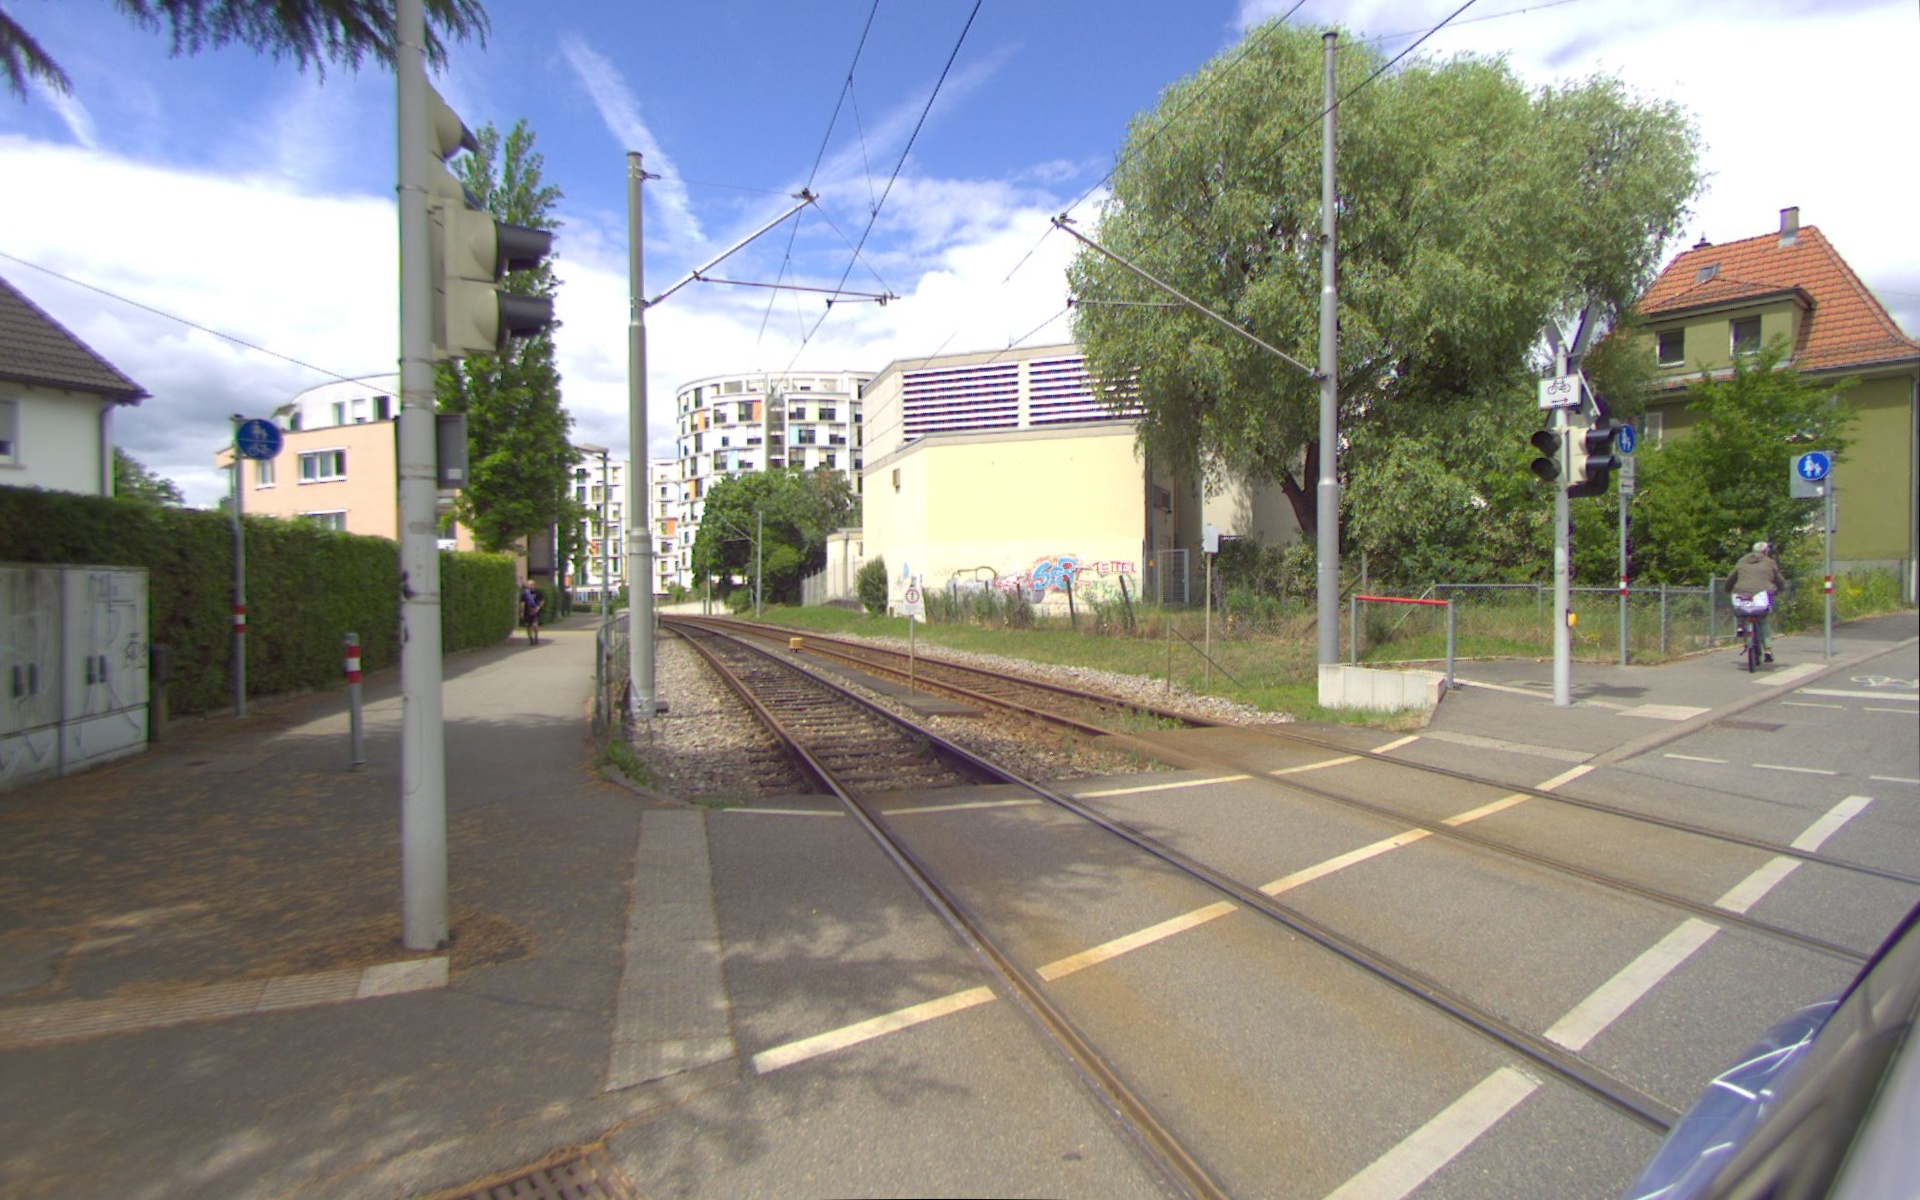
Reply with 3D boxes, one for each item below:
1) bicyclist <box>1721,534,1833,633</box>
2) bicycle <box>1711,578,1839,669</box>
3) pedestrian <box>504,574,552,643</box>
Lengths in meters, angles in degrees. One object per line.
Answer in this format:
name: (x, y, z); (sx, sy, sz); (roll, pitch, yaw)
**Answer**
bicyclist: (11.011, -0.257, 13.648); (1.082, 1.262, 0.934); (-3, 4, -38)
bicycle: (11.036, 0.279, 13.688); (1.881, 1.053, 0.934); (-3, 4, -38)
pedestrian: (-11.176, 0.201, 26.208); (0.913, 1.707, 0.921); (-2, 1, -12)
